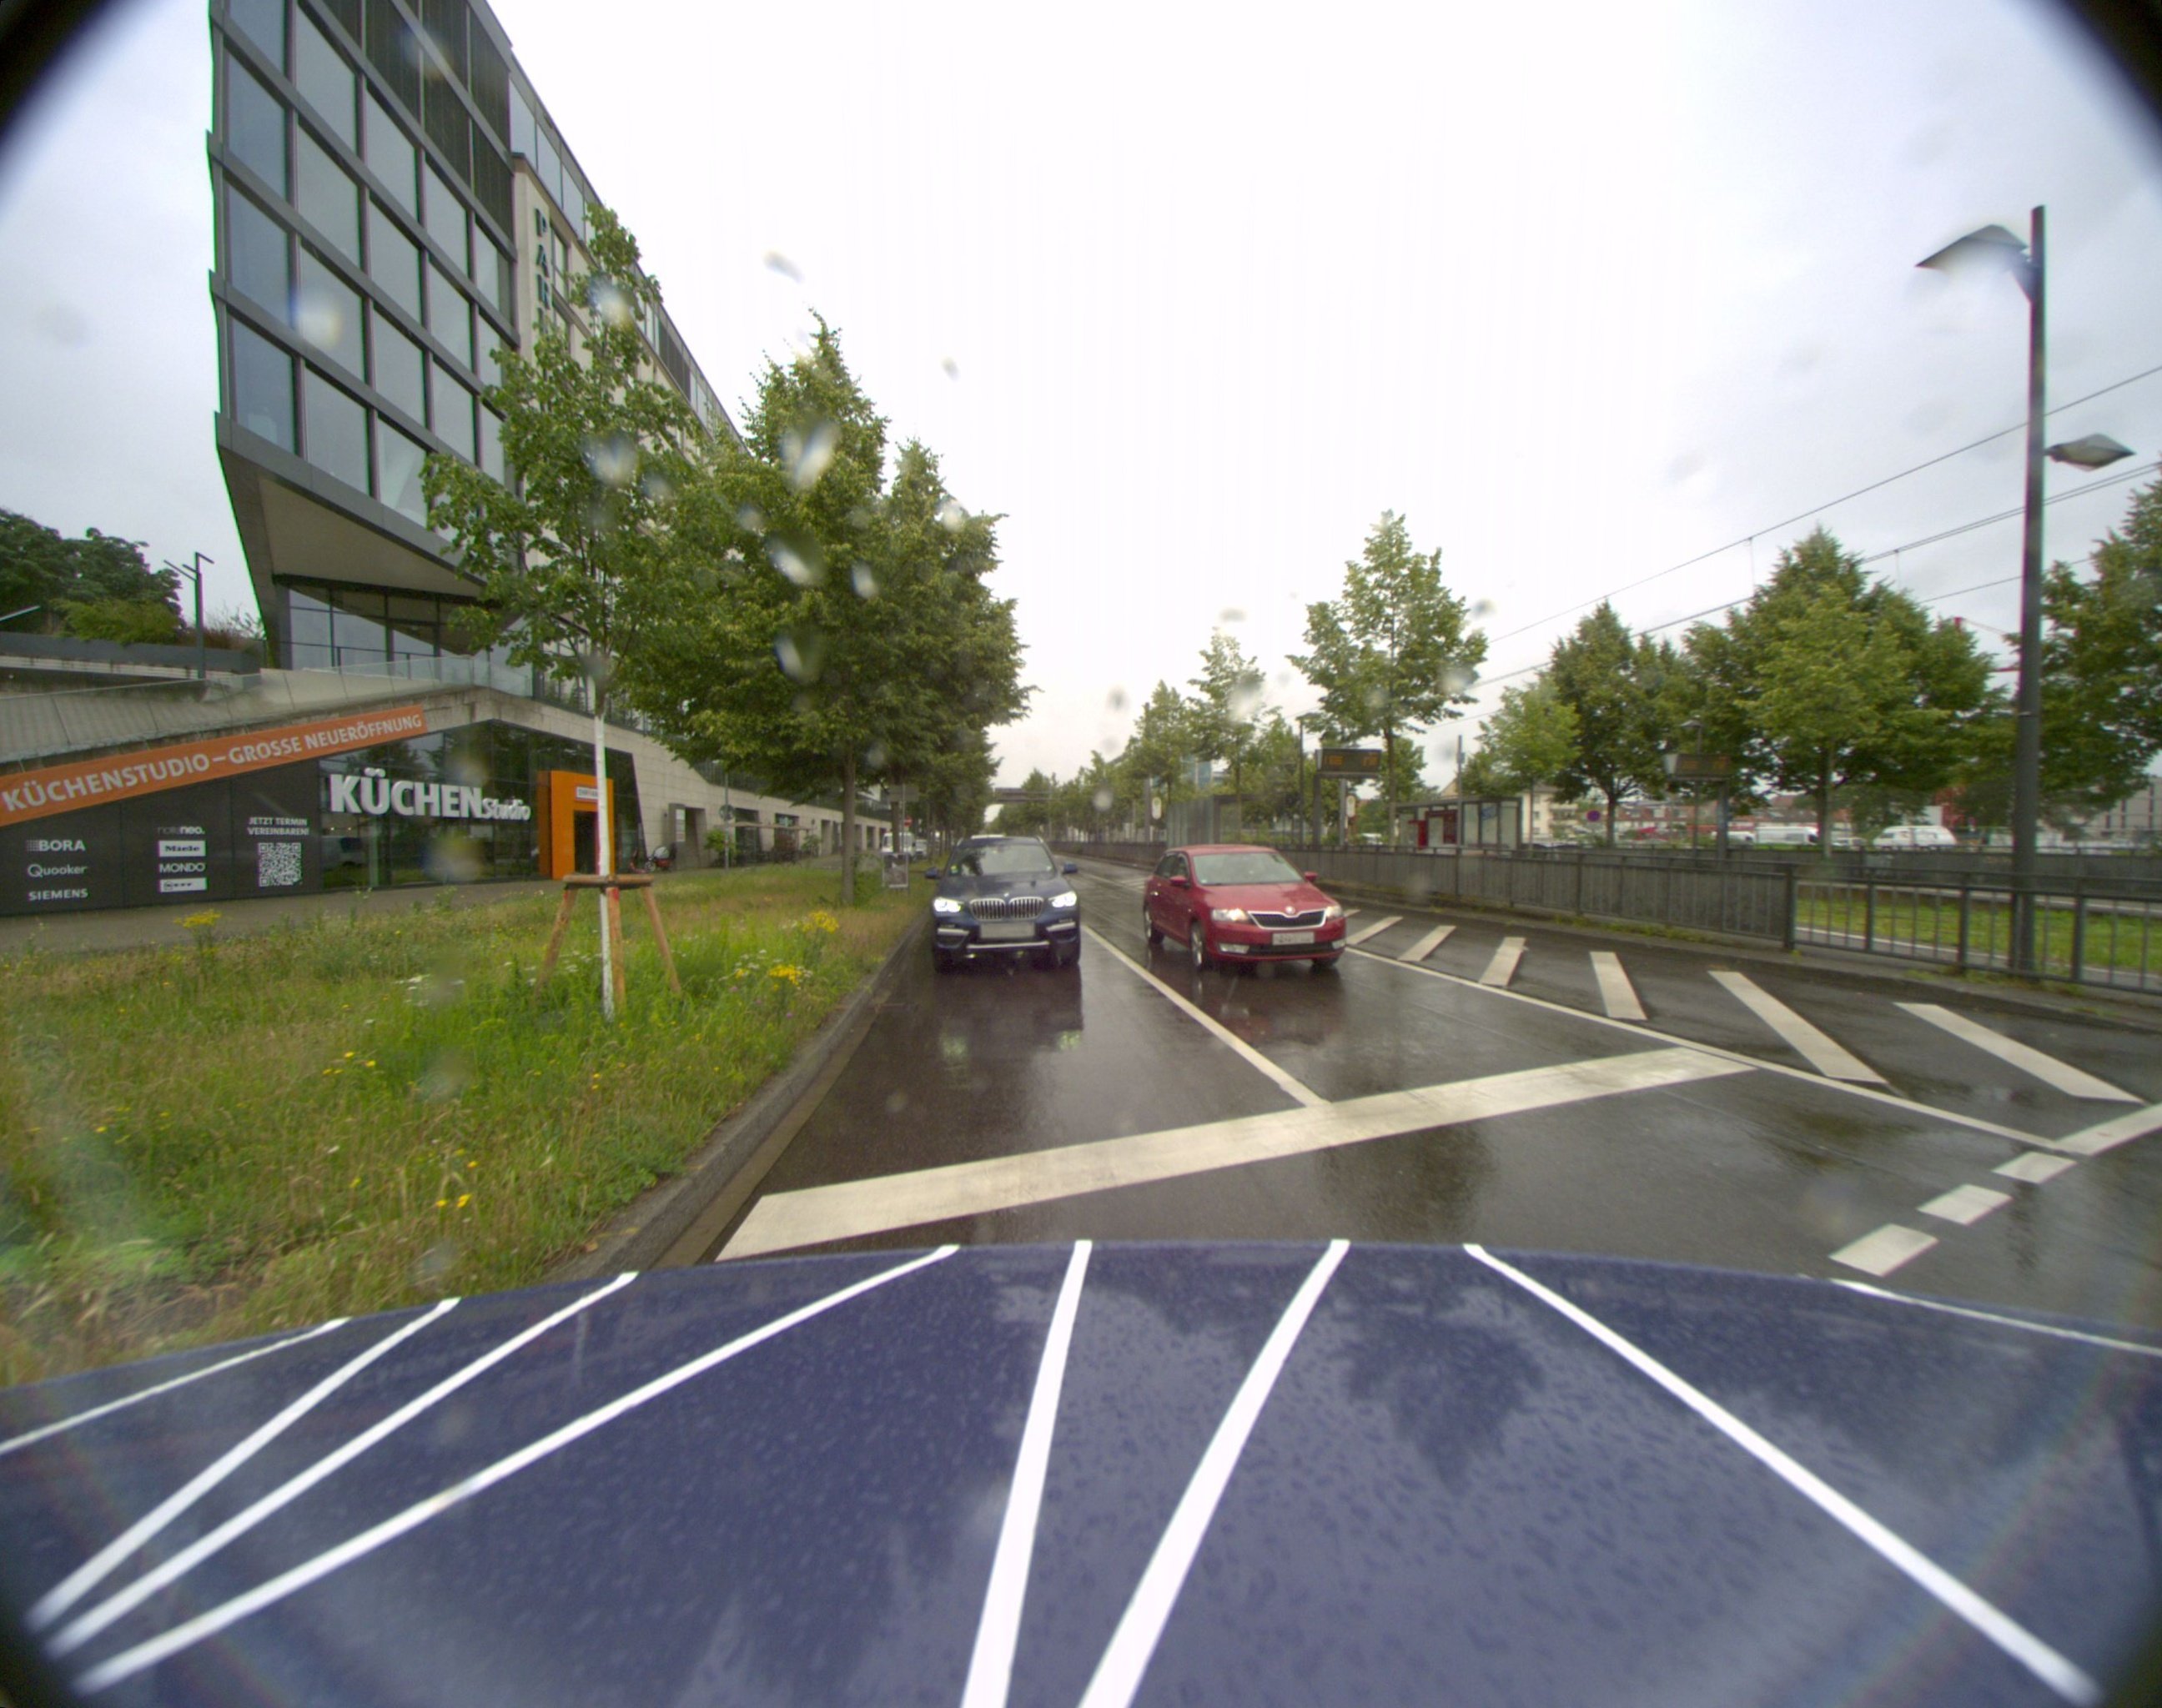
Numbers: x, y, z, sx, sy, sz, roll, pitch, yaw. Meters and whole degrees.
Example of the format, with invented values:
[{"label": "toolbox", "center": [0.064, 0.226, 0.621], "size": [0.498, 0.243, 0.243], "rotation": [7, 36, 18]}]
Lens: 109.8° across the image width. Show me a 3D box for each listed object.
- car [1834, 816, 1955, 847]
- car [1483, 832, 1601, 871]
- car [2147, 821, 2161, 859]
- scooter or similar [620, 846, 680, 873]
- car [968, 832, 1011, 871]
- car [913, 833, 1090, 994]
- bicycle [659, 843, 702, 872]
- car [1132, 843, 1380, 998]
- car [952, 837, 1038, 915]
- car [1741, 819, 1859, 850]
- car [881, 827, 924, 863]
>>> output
[{"label": "car", "center": [69.638, -1.923, 65.276], "size": [2.501, 2.463, 6.828], "rotation": [-3, 2, -10]}, {"label": "car", "center": [19.573, -0.149, 32.552], "size": [1.831, 1.478, 4.622], "rotation": [-3, 2, -8]}, {"label": "car", "center": [72.871, -0.881, 47.494], "size": [2.359, 2.462, 6.823], "rotation": [-1, 1, -20]}, {"label": "scooter or similar", "center": [-19.705, 0.251, 34.794], "size": [0.811, 1.093, 2.615], "rotation": [-2, 2, 11]}, {"label": "car", "center": [-4.255, -0.147, 35.553], "size": [1.789, 1.638, 3.996], "rotation": [-3, 2, -6]}, {"label": "car", "center": [-1.131, 0.617, 10.831], "size": [1.917, 1.737, 4.379], "rotation": [-3, 2, -6]}, {"label": "bicycle", "center": [-19.919, 0.144, 37.871], "size": [0.883, 1.340, 2.694], "rotation": [-3, 2, -6]}, {"label": "car", "center": [1.965, 0.644, 9.955], "size": [1.789, 1.451, 4.311], "rotation": [-3, 2, -6]}, {"label": "car", "center": [-2.266, 0.455, 20.094], "size": [1.917, 1.737, 4.379], "rotation": [-3, 2, -6]}, {"label": "car", "center": [62.746, -1.664, 66.614], "size": [2.357, 2.463, 7.630], "rotation": [-3, 2, -10]}, {"label": "car", "center": [-11.925, -0.621, 51.069], "size": [2.085, 2.189, 5.093], "rotation": [-3, 2, -6]}]
